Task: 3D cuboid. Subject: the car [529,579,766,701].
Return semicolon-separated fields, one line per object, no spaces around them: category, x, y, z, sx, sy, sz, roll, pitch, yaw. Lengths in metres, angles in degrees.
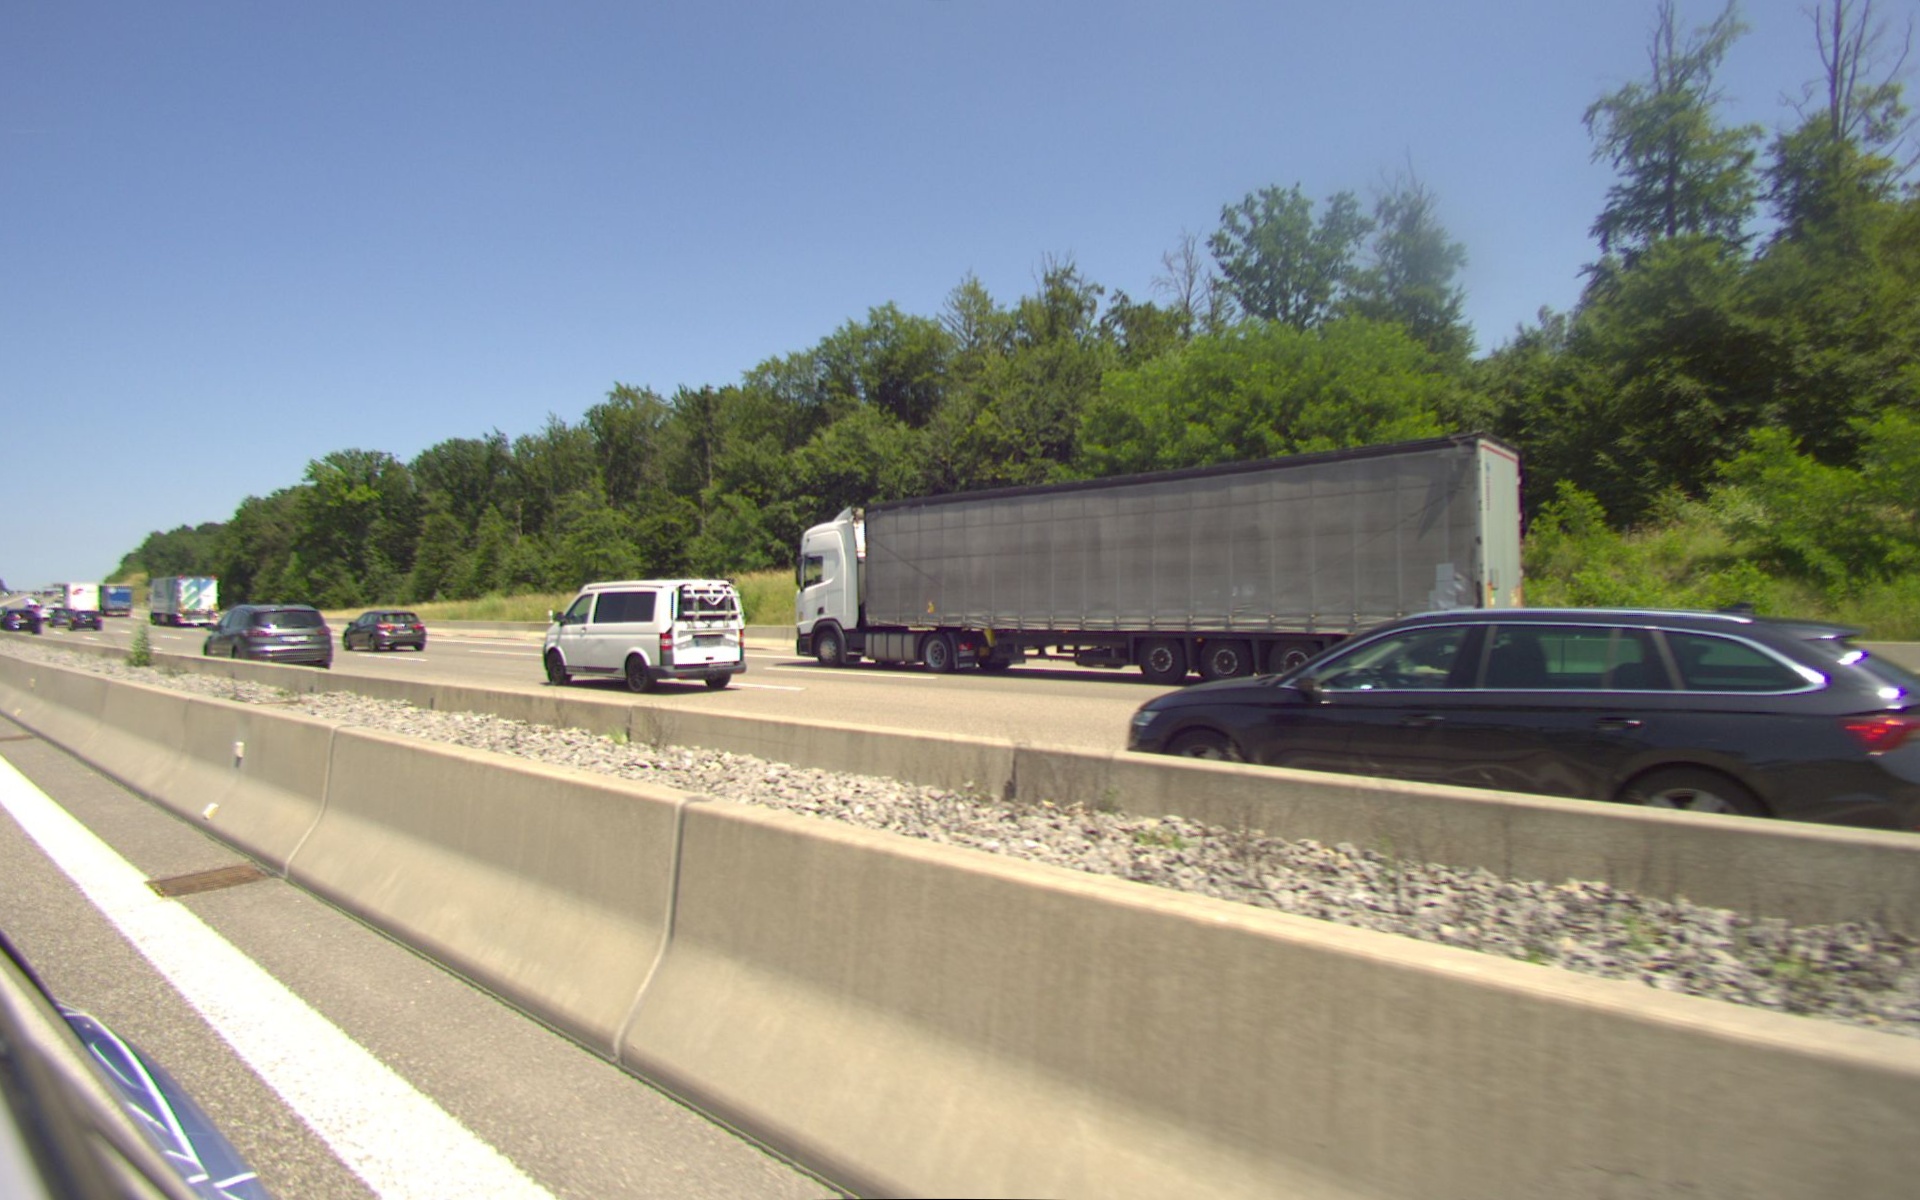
car;-6.080;0.696;19.279;5.184;2.029;1.981;-1;-1;42

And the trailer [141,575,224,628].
trailer;-65.332;0.193;84.821;15.288;4.068;3.194;-1;-1;43

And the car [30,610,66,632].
car;-73.378;1.681;81.388;4.001;1.696;1.896;0;1;44

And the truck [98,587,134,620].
truck;-106.537;0.507;127.718;6.939;4.044;2.691;-1;-1;44

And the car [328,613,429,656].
car;-21.735;1.252;37.744;4.798;1.507;1.972;-1;-1;43

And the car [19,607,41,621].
car;-112.269;1.705;122.179;4.546;1.652;1.777;-1;0;45

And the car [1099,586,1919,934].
car;3.393;0.694;6.214;4.950;1.508;1.656;0;1;41

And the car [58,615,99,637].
car;-62.816;1.809;72.093;3.999;1.476;1.756;0;1;42

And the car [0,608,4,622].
car;-112.850;1.768;118.079;1.730;1.530;4.829;0;0;-45

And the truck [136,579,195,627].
truck;-70.467;0.240;89.700;6.416;4.033;3.185;0;1;43

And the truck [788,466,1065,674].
truck;-0.946;-0.653;24.717;6.453;4.405;3.010;0;1;41

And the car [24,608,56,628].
car;-87.457;1.719;96.188;4.892;1.816;1.798;0;0;43

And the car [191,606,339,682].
car;-16.874;0.995;24.452;5.163;1.645;1.852;-1;-1;42

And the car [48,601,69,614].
car;-141.088;1.108;158.373;5.026;1.980;2.053;0;1;44

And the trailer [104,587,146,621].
trailer;-101.567;0.496;122.983;10.766;3.953;2.693;0;1;44

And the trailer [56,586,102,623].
trailer;-102.647;0.524;117.804;12.157;4.131;2.904;0;1;44

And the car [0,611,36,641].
car;-59.480;1.610;63.524;4.985;1.843;1.807;-1;-1;43

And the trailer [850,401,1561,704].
trailer;3.728;-0.690;20.539;14.271;4.393;2.999;0;1;42
